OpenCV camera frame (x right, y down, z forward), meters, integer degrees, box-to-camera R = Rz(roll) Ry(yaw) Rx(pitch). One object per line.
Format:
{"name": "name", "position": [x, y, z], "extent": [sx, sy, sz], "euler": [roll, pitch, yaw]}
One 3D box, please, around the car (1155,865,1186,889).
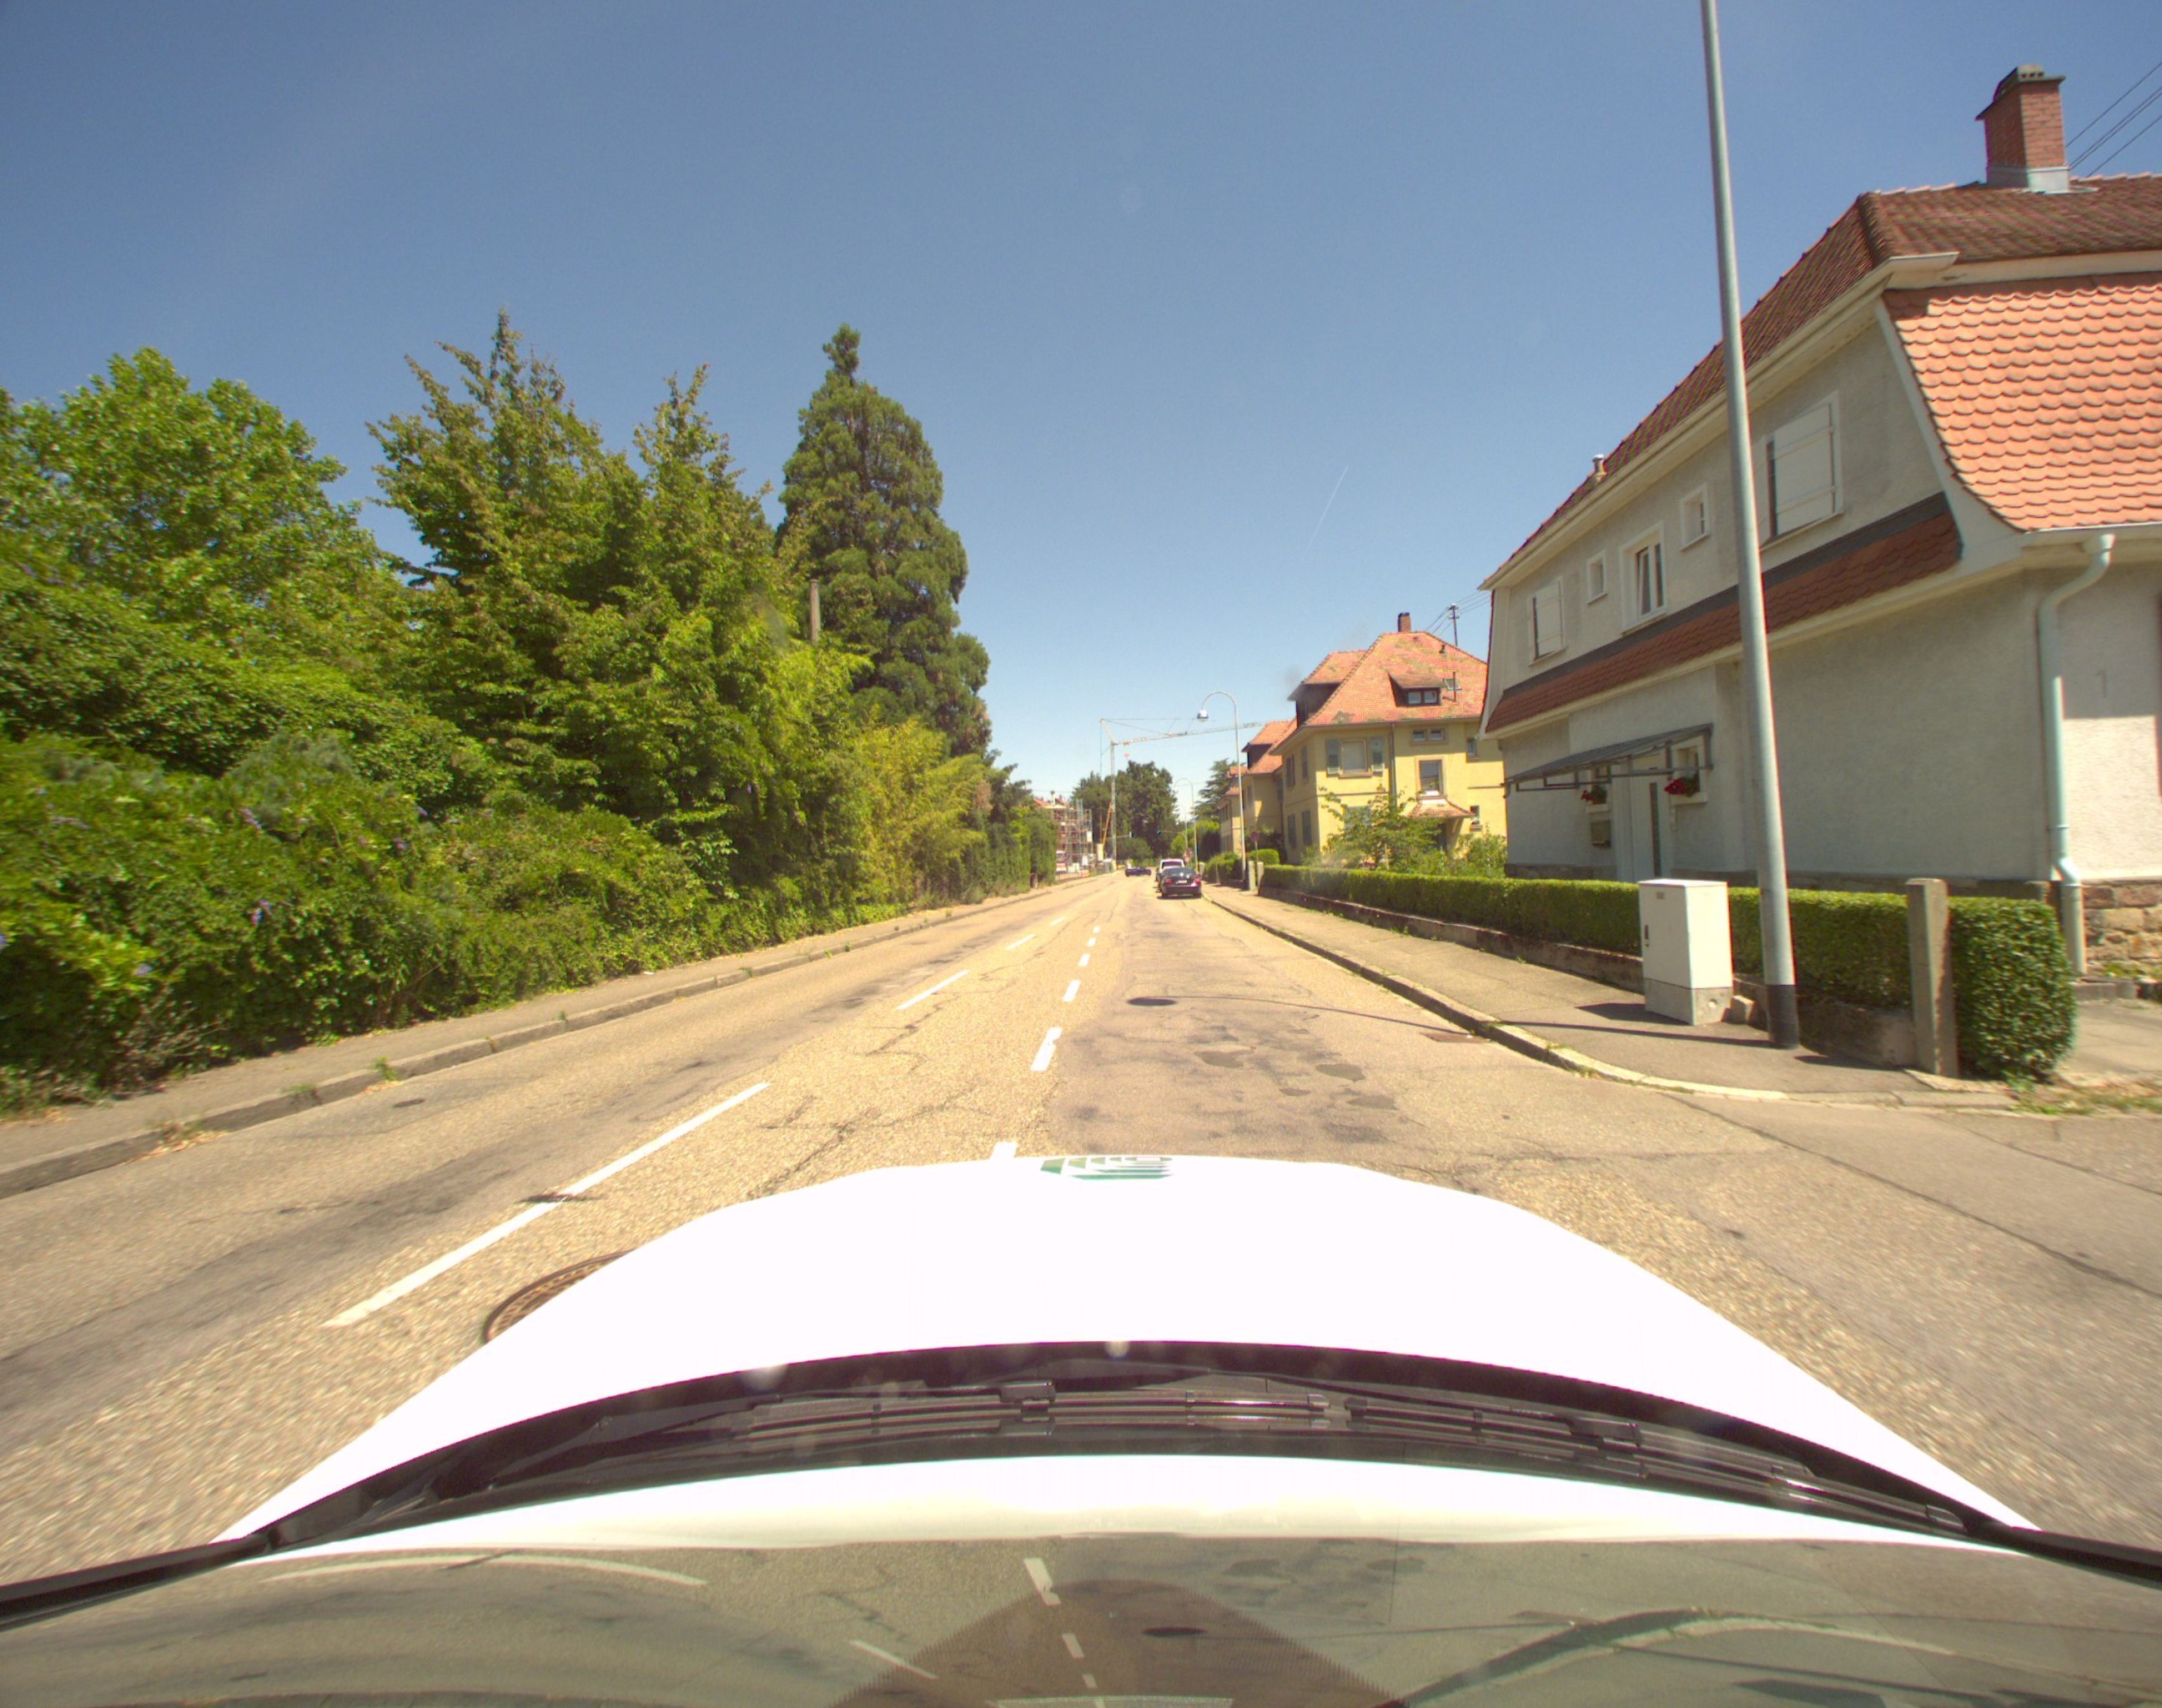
{"name": "car", "position": [5.630, 1.436, 51.702], "extent": [1.753, 1.451, 3.652], "euler": [-2, -1, 4]}

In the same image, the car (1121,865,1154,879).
{"name": "car", "position": [7.459, 2.392, 107.429], "extent": [4.023, 1.468, 1.941], "euler": [-4, 0, -43]}

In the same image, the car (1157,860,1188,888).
{"name": "car", "position": [6.326, 1.397, 56.978], "extent": [1.984, 1.901, 4.828], "euler": [0, -1, 4]}

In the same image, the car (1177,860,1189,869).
{"name": "car", "position": [19.842, 1.971, 158.321], "extent": [1.980, 1.662, 4.013], "euler": [-3, -1, 12]}

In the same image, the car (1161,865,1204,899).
{"name": "car", "position": [4.559, 1.252, 37.144], "extent": [1.685, 1.419, 4.555], "euler": [-2, -1, 4]}

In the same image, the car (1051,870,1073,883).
{"name": "car", "position": [-2.069, 2.501, 91.132], "extent": [1.649, 1.389, 3.545], "euler": [-3, -1, 11]}
